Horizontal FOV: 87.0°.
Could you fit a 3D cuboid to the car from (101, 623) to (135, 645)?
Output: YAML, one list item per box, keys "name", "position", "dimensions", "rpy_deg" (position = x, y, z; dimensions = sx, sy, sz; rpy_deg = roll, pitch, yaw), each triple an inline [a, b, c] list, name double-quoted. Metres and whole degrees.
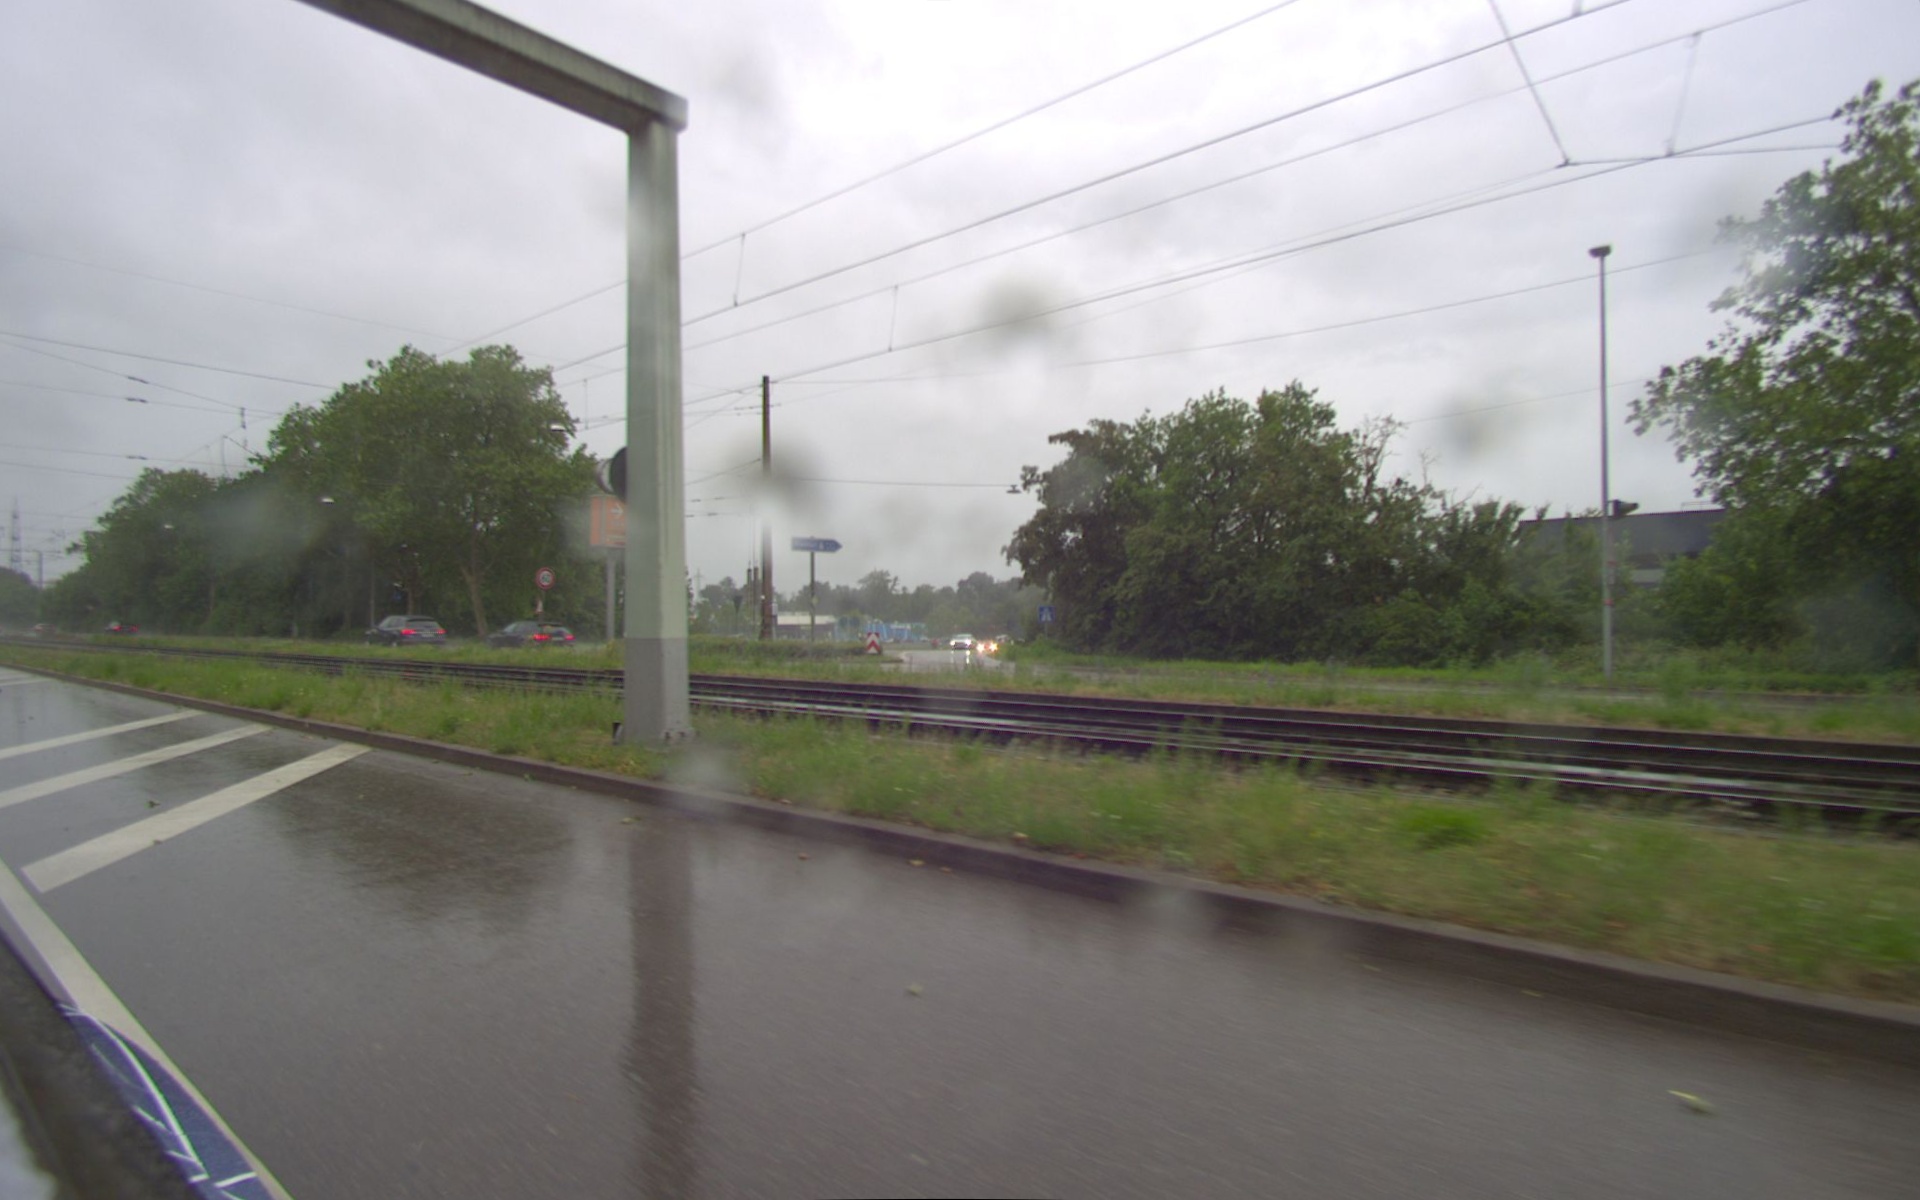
- name: "car"
  position: [-83.484, 3.352, 100.348]
  dimensions: [3.998, 2.029, 1.973]
  rpy_deg: [-2, -1, 41]

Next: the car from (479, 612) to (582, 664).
- name: "car"
  position: [-17.772, 1.537, 41.782]
  dimensions: [4.514, 2.029, 1.951]
  rpy_deg: [-1, -1, 38]

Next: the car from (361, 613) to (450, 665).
- name: "car"
  position: [-22.934, 1.588, 41.792]
  dimensions: [3.998, 2.029, 1.973]
  rpy_deg: [-2, -1, 41]

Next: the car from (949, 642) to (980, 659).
- name: "car"
  position: [0.452, 4.707, 94.587]
  dimensions: [1.594, 1.366, 4.463]
  rpy_deg: [-1, -1, 19]
